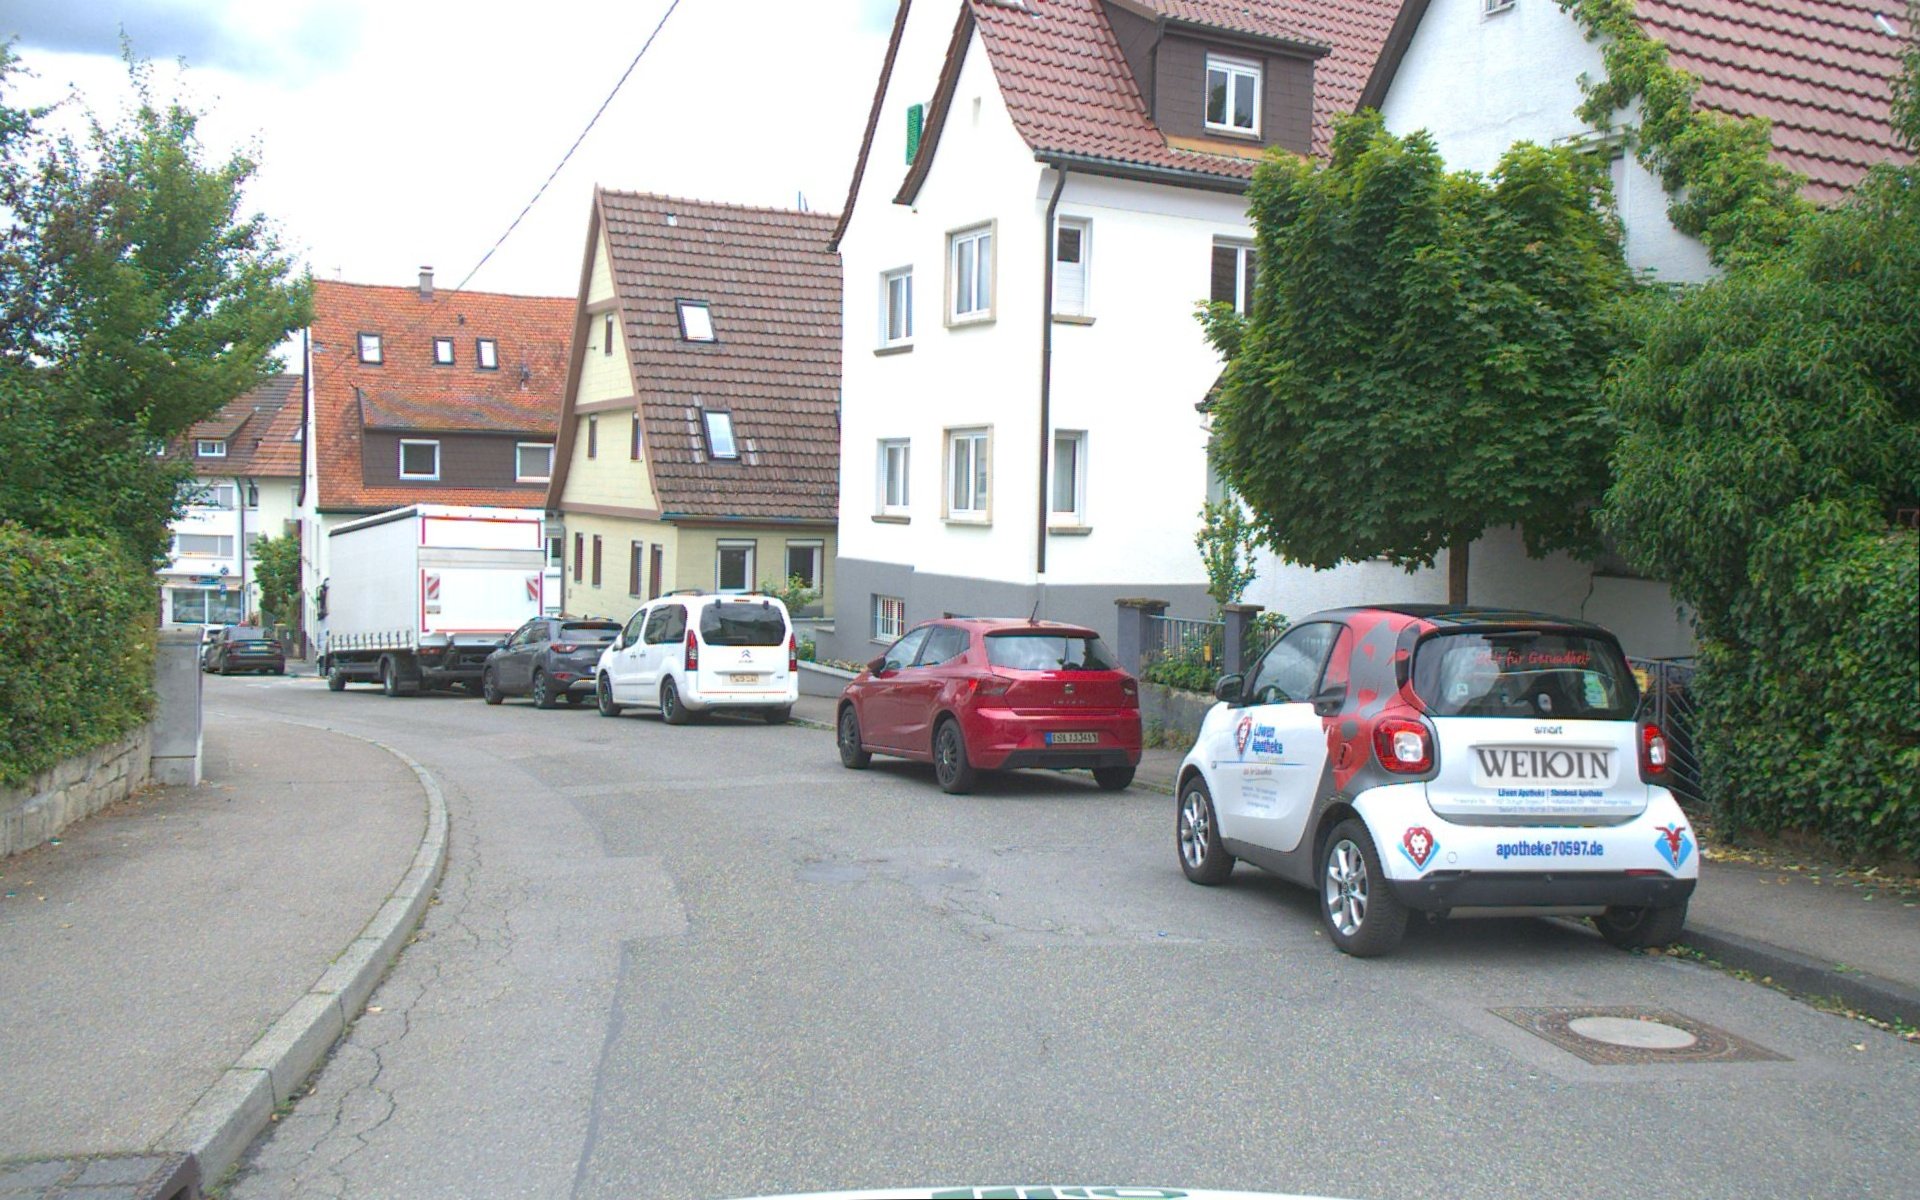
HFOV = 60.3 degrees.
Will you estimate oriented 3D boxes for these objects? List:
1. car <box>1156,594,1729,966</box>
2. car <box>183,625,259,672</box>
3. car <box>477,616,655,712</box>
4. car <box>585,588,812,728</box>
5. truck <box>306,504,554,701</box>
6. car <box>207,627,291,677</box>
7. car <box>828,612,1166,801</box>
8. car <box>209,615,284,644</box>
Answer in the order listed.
[{"bbox_3d":[2.287,0.805,8.547,1.584,1.559,2.887,3,-1,-14],"label":"car"},{"bbox_3d":[-24.227,1.586,54.160,1.777,1.471,4.252,1,-2,-31],"label":"car"},{"bbox_3d":[-6.921,1.099,28.786,1.718,1.533,4.002,1,-2,-34],"label":"car"},{"bbox_3d":[-3.928,0.813,24.254,1.817,1.846,4.258,1,-1,-31],"label":"car"},{"bbox_3d":[-11.356,0.111,34.839,2.655,3.660,8.001,0,-1,-36],"label":"truck"},{"bbox_3d":[-21.419,1.559,49.777,1.658,1.433,4.004,2,-2,-33],"label":"car"},{"bbox_3d":[0.194,0.873,15.043,1.656,1.477,3.824,1,-1,-23],"label":"car"},{"bbox_3d":[-40.341,1.666,93.536,3.604,1.583,1.699,0,1,12],"label":"car"}]
